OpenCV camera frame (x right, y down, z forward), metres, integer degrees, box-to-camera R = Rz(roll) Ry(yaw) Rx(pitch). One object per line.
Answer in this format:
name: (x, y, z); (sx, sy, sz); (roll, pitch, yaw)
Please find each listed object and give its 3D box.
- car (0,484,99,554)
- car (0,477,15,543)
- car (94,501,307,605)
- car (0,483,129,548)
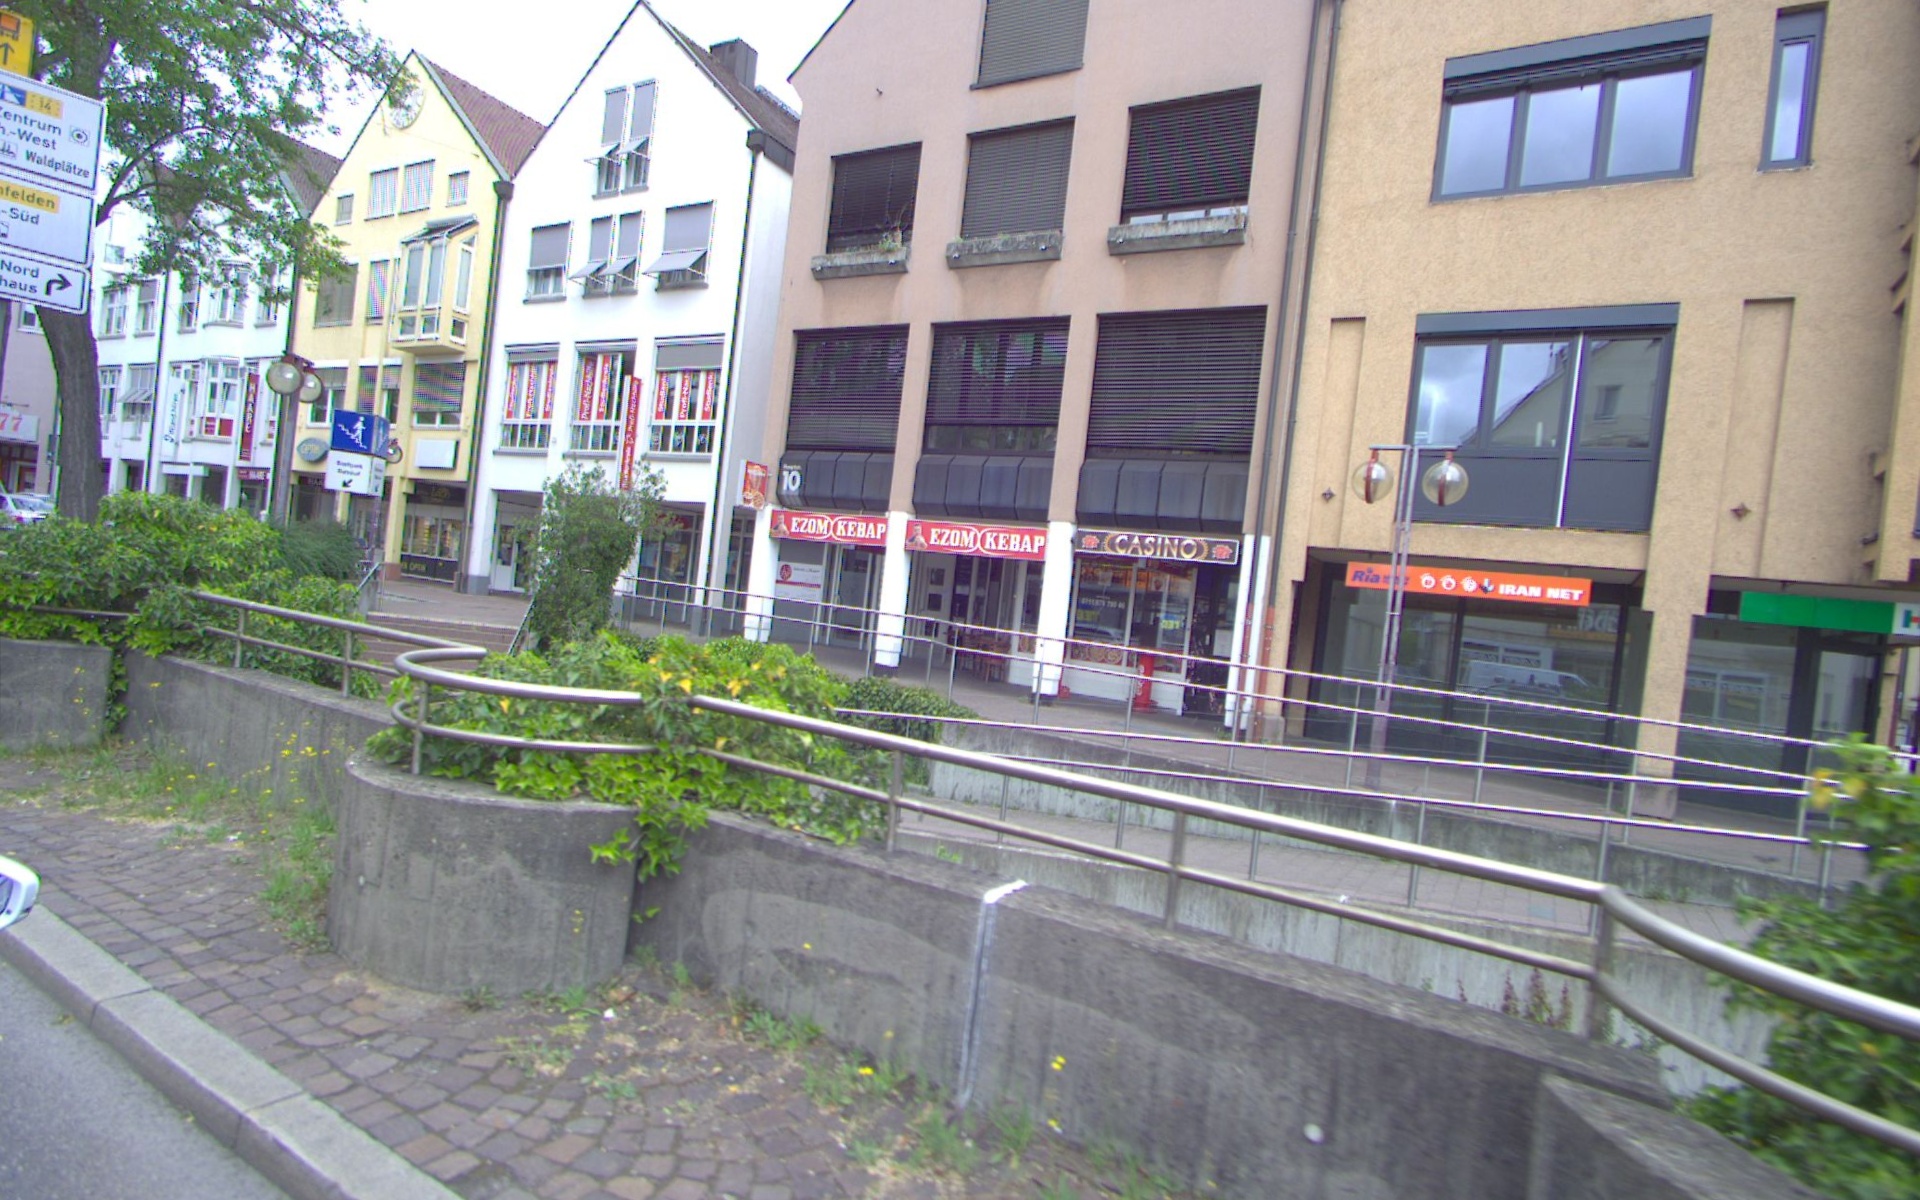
car: (-25.510, -2.280, 27.347); (3.931, 1.546, 1.870); (7, 0, 29)
car: (-30.078, -2.902, 29.831); (3.932, 1.888, 1.869); (7, 0, 30)
car: (-16.353, -1.022, 21.626); (4.421, 1.659, 1.884); (7, 0, 28)
car: (-28.722, -2.700, 32.214); (3.931, 1.546, 1.870); (7, 0, 29)
